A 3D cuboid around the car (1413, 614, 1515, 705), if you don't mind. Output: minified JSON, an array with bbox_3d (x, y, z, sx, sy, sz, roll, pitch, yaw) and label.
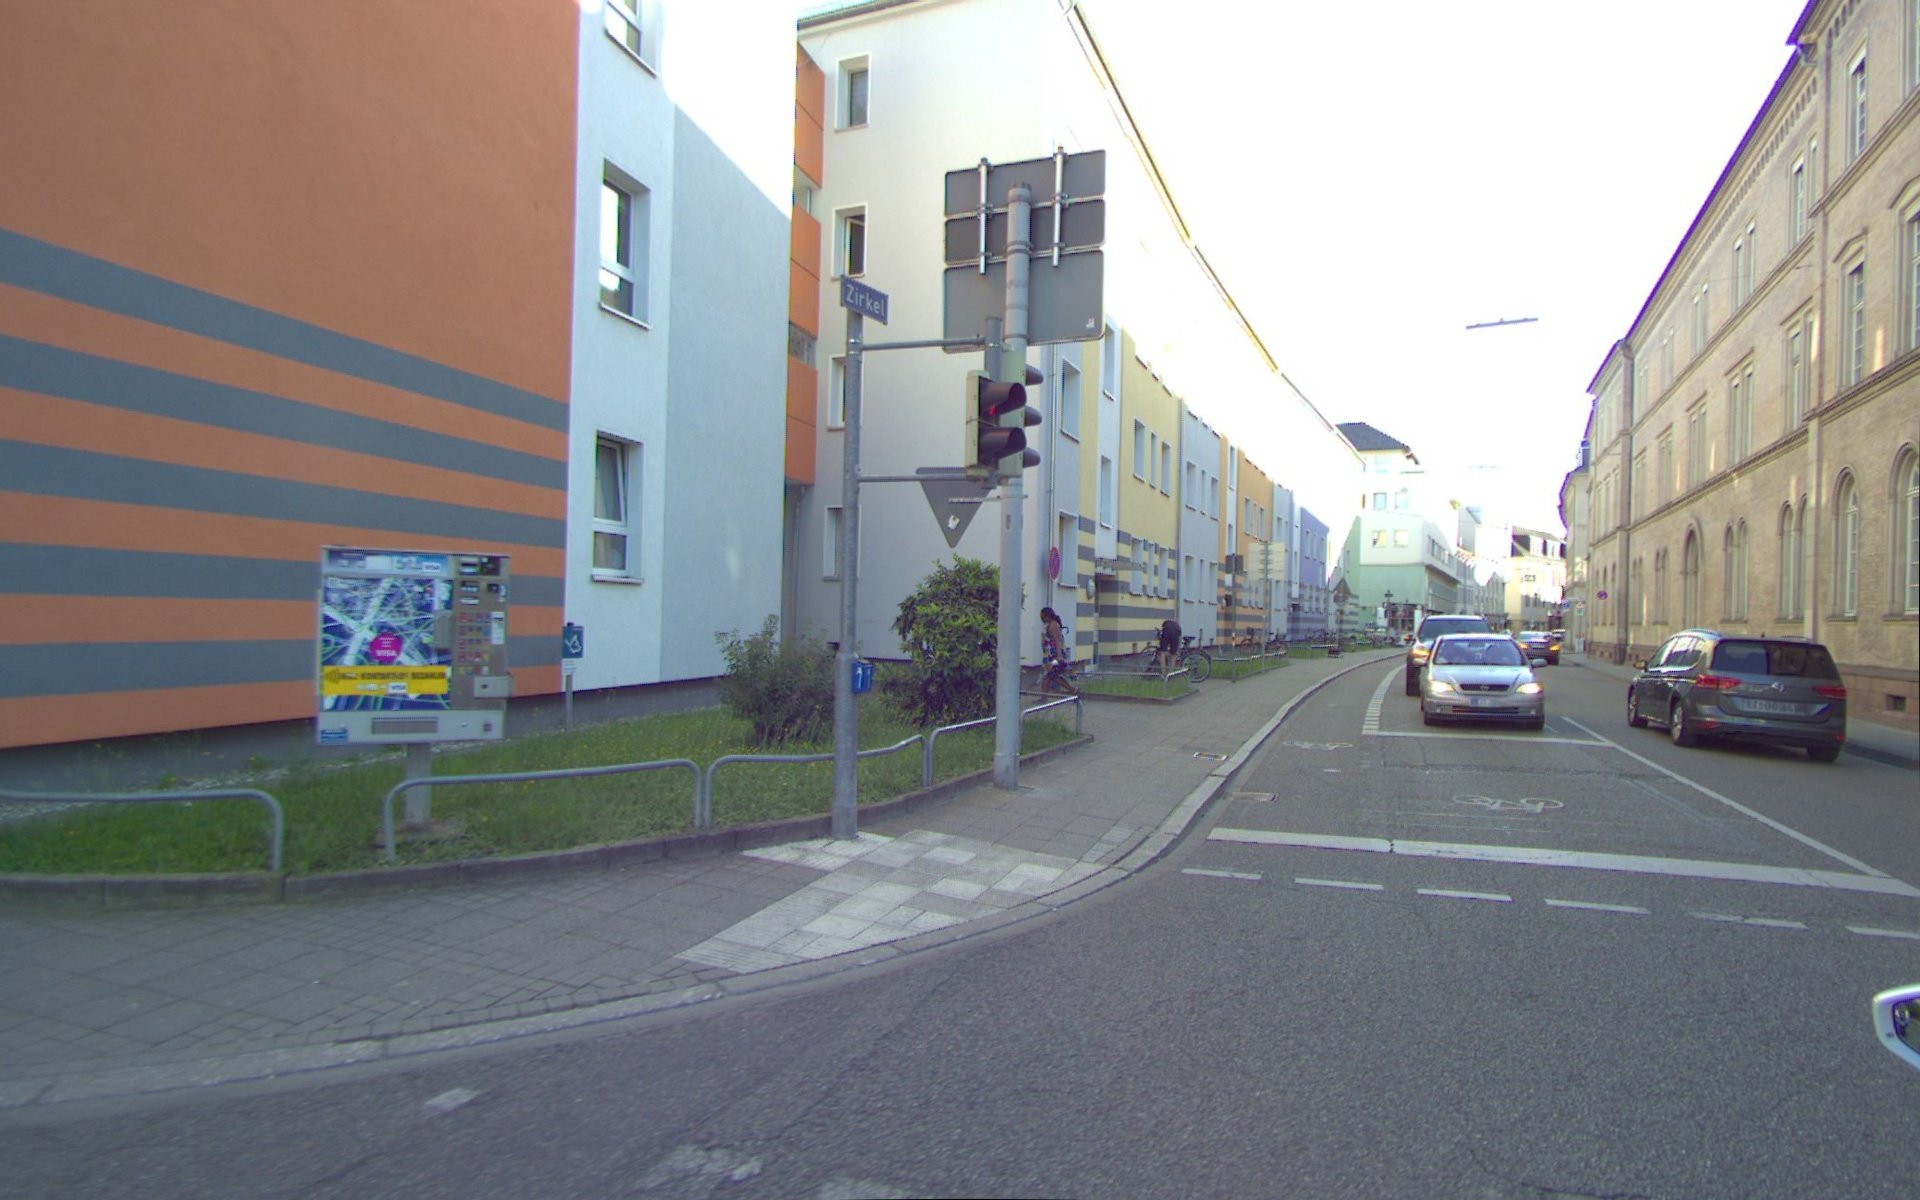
[{"bbox_3d":[11.519,1.294,23.146,1.870,1.859,5.091,-1,-2,25],"label":"car"}]

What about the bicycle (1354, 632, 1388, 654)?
[{"bbox_3d":[26.035,2.726,63.632,1.897,1.195,0.613,4,0,20],"label":"bicycle"}]

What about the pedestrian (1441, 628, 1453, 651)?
[{"bbox_3d":[39.407,3.184,81.272,0.724,1.853,0.551,2,-1,-38],"label":"pedestrian"}]

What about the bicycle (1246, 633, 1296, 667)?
[{"bbox_3d":[11.420,1.823,36.937,1.722,1.160,0.651,1,-1,19],"label":"bicycle"}]

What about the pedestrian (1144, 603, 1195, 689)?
[{"bbox_3d":[4.709,1.022,22.545,0.863,1.879,0.713,2,-1,-42],"label":"pedestrian"}]

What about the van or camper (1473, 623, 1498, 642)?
[{"bbox_3d":[58.475,3.647,111.713,1.967,2.040,4.470,1,-1,34],"label":"van or camper"}]

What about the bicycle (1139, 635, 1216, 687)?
[{"bbox_3d":[5.239,1.454,24.205,1.722,1.160,0.651,1,-1,19],"label":"bicycle"}]

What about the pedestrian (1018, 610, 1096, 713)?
[{"bbox_3d":[1.599,0.977,16.396,0.995,1.593,1.080,1,-1,20],"label":"pedestrian"}]

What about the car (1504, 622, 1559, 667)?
[{"bbox_3d":[26.282,2.013,46.264,1.963,1.907,3.995,1,-1,27],"label":"car"}]

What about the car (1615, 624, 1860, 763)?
[{"bbox_3d":[11.091,1.220,14.673,1.733,1.628,3.999,3,0,22],"label":"car"}]

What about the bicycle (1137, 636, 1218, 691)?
[{"bbox_3d":[4.949,1.425,22.815,1.722,1.160,0.651,1,-1,19],"label":"bicycle"}]

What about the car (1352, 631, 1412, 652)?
[{"bbox_3d":[32.823,3.218,78.113,4.039,1.462,1.944,0,-1,31],"label":"car"}]

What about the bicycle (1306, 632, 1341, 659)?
[{"bbox_3d":[17.989,2.247,49.704,1.555,1.258,0.384,1,-1,27],"label":"bicycle"}]

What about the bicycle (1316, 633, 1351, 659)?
[{"bbox_3d":[18.996,2.324,51.055,1.614,1.258,0.466,1,-1,27],"label":"bicycle"}]

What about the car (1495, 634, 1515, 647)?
[{"bbox_3d":[68.696,5.082,126.595,1.840,1.488,3.823,1,-1,33],"label":"car"}]

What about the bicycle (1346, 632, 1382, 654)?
[{"bbox_3d":[25.109,2.676,62.470,1.896,1.195,0.614,4,0,13],"label":"bicycle"}]

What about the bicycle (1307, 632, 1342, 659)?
[{"bbox_3d":[18.174,2.261,50.078,1.560,1.258,0.449,1,-1,27],"label":"bicycle"}]

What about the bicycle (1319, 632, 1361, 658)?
[{"bbox_3d":[19.516,2.323,51.590,1.977,1.247,0.622,1,-1,27],"label":"bicycle"}]

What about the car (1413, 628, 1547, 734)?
[{"bbox_3d":[8.509,1.228,16.580,1.714,1.505,4.132,-1,-2,26],"label":"car"}]
